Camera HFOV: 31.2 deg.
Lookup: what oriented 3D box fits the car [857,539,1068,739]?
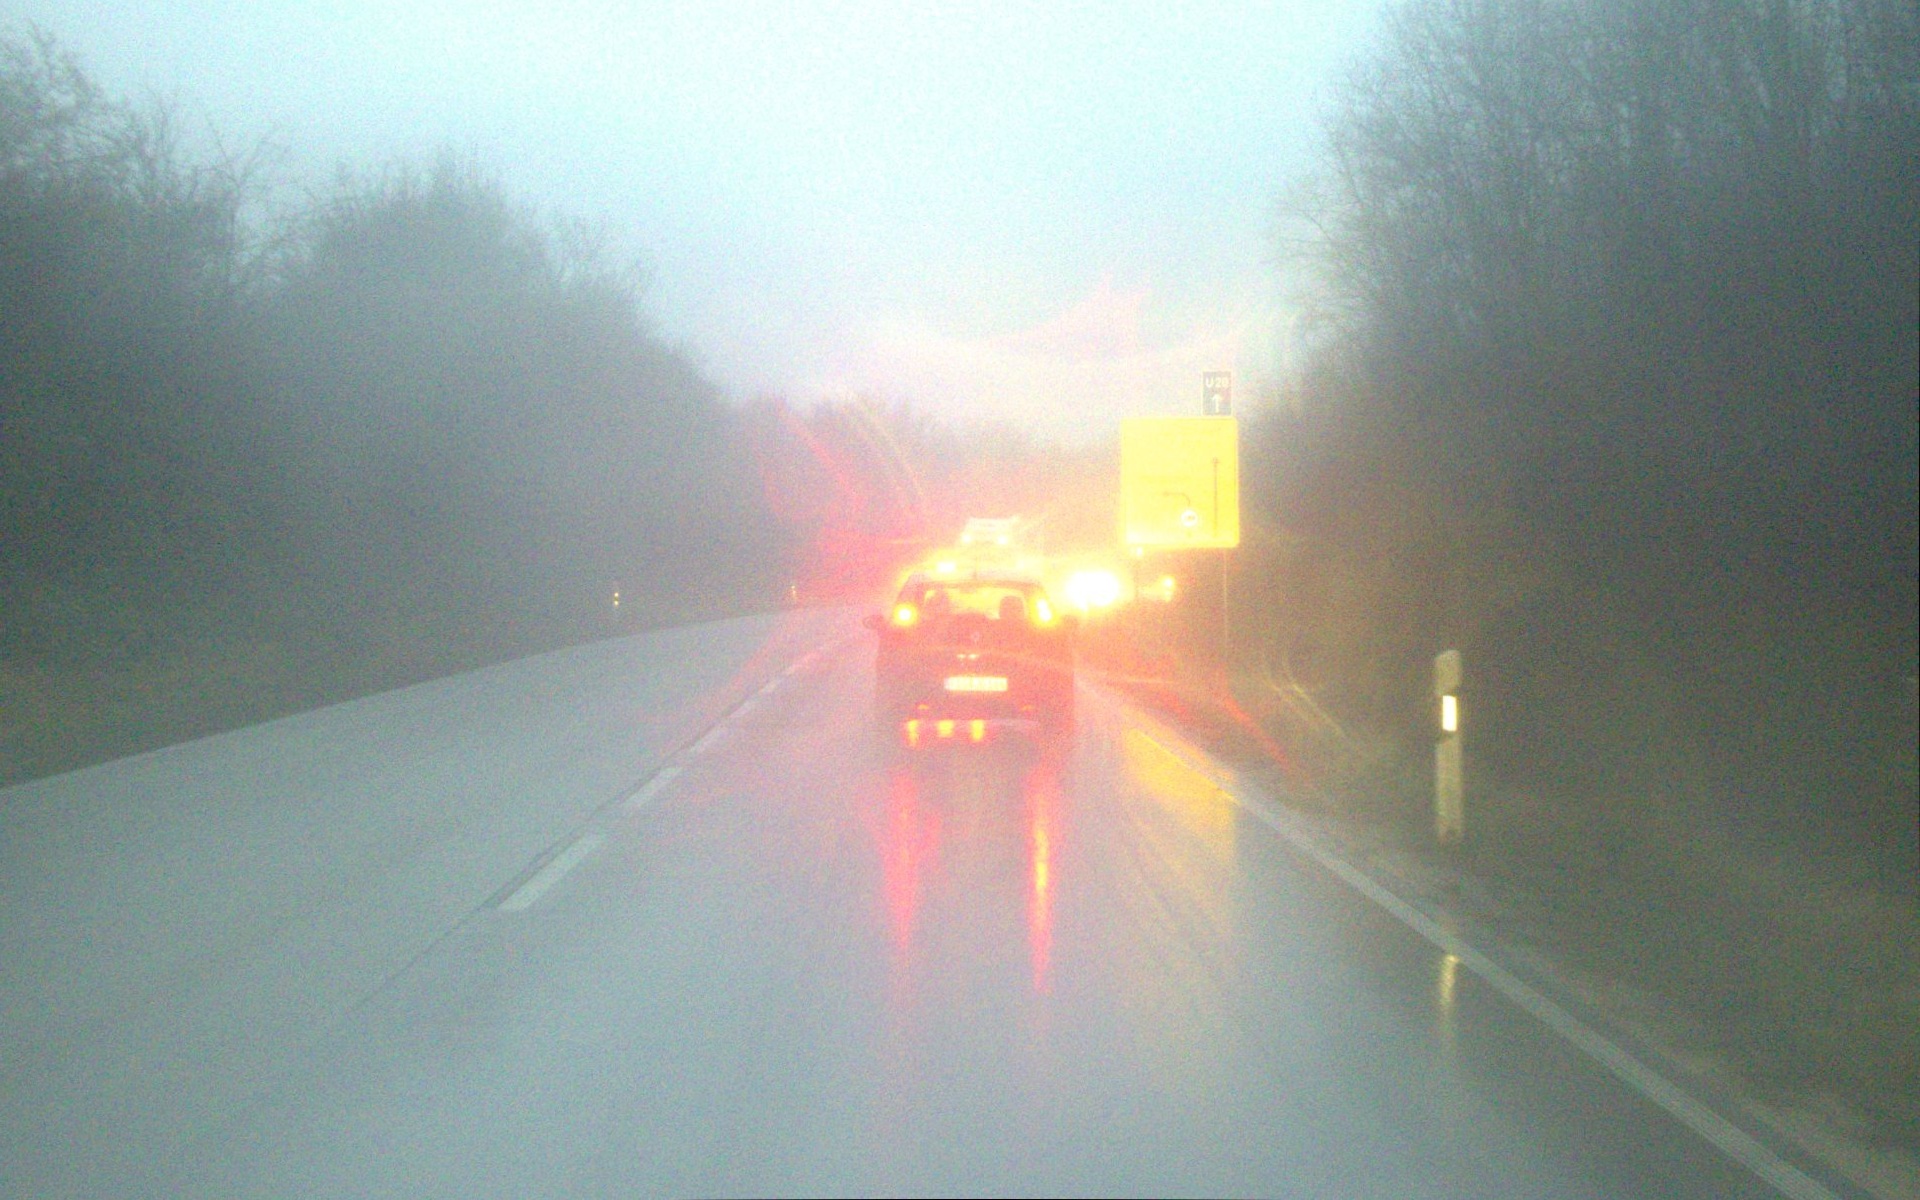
[{"bbox_3d":[0.027,0.292,30.262,1.728,1.638,4.000,0,1,0],"label":"car"}]

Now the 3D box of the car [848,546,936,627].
[{"bbox_3d":[-1.397,-0.310,71.683,1.728,1.638,4.000,0,1,0],"label":"car"}]
